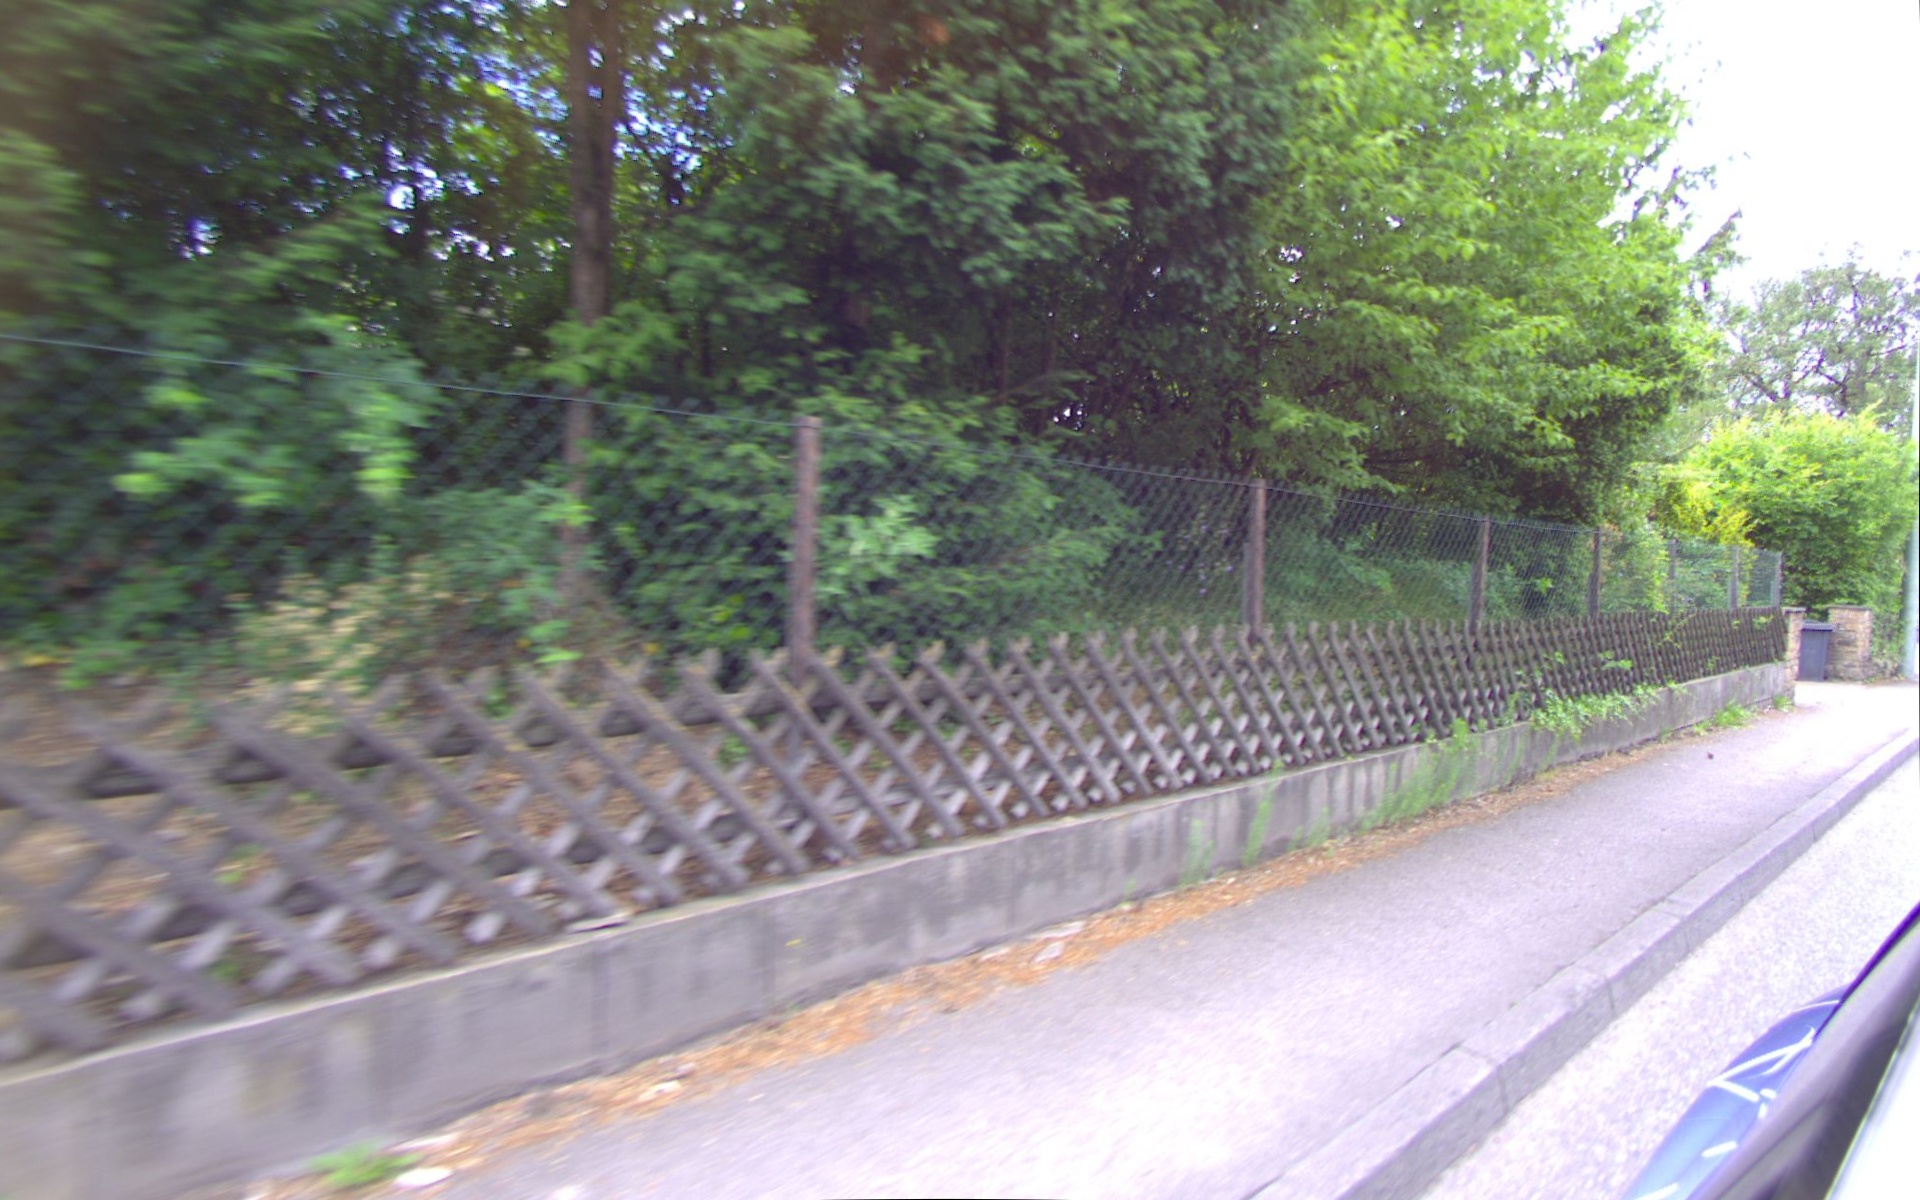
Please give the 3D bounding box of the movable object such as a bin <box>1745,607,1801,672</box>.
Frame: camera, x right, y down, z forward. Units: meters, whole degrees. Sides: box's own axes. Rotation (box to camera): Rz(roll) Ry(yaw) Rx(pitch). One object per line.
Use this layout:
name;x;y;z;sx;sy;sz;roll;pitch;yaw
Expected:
movable object such as a bin;14.228;0.683;17.726;0.532;1.075;0.507;3;1;11

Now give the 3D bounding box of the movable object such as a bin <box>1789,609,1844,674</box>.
movable object such as a bin;14.918;0.714;17.635;0.534;1.058;0.505;4;2;22
